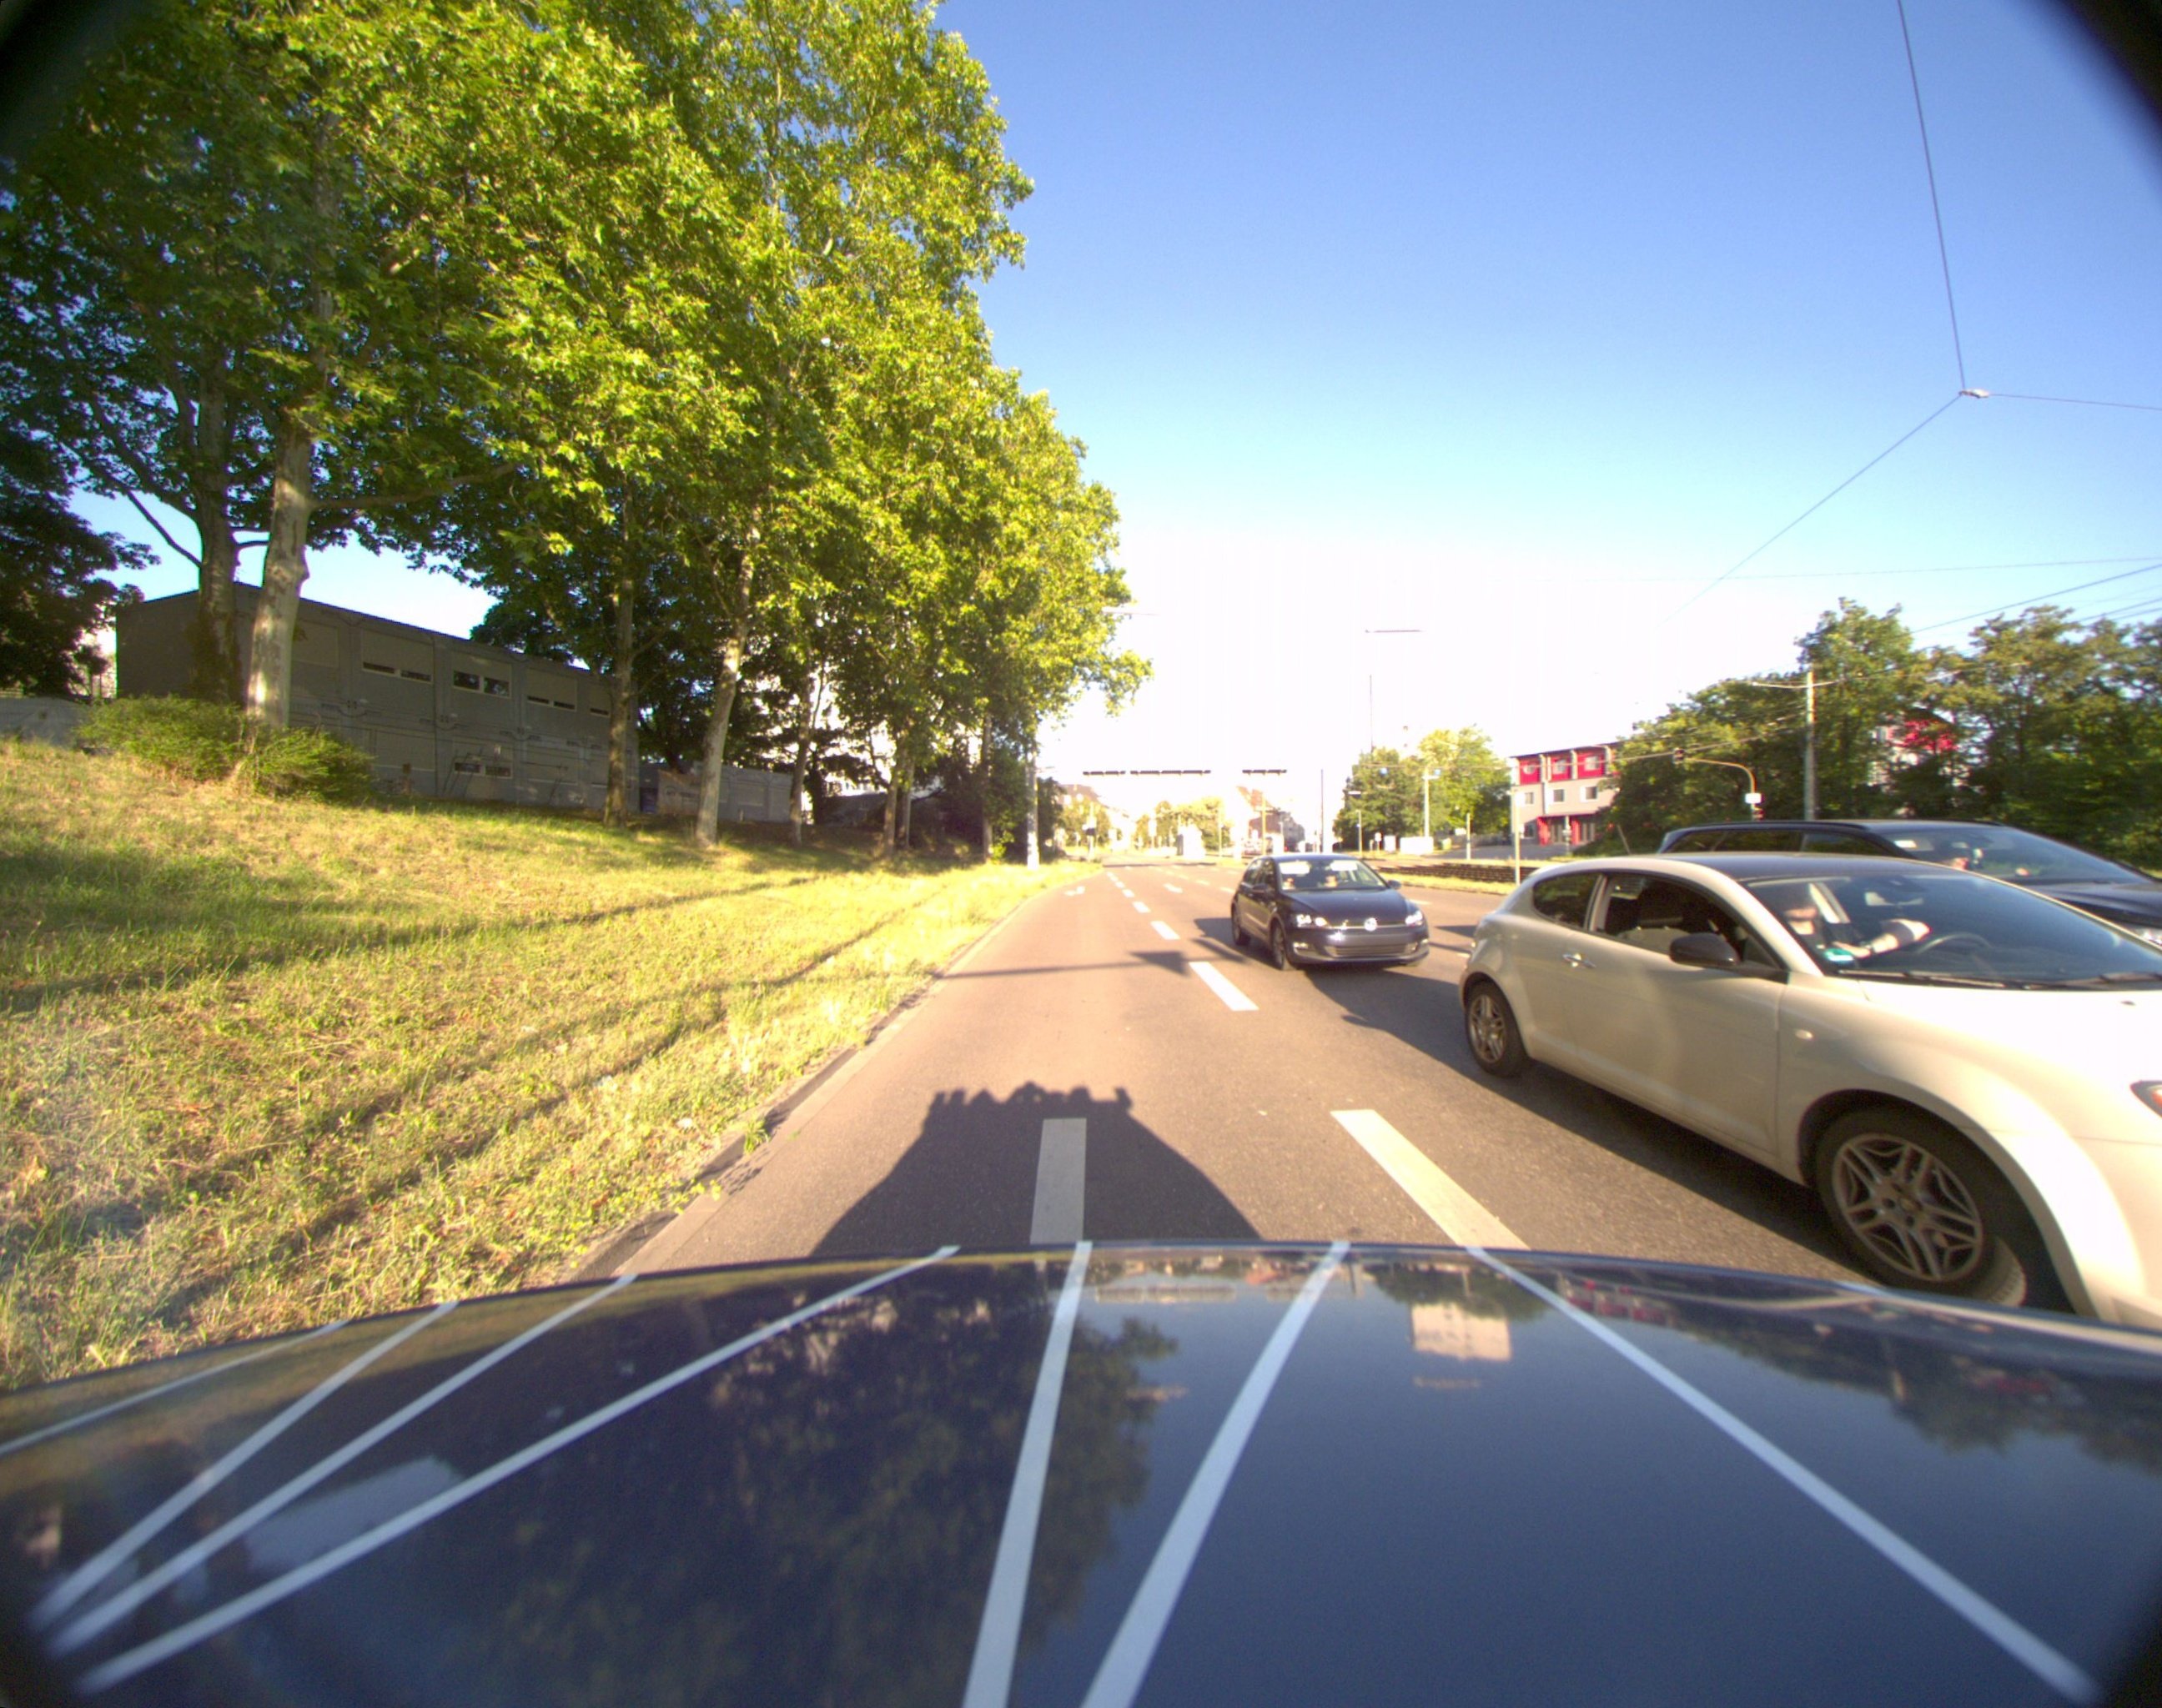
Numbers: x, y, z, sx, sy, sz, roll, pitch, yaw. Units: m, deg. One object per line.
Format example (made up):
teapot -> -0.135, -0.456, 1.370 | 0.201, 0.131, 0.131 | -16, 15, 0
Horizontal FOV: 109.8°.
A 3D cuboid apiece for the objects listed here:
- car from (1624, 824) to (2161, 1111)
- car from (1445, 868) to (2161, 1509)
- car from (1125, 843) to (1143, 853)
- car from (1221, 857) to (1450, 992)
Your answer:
car -> 7.227, 0.610, 6.563 | 1.920, 1.639, 4.602 | -1, 0, 2
car -> 3.421, 0.845, 3.396 | 1.665, 1.422, 3.923 | -1, 0, -1
car -> 10.966, -1.216, 156.692 | 1.995, 1.807, 4.007 | -2, 1, 31
car -> 3.202, 0.792, 10.441 | 1.782, 1.422, 3.923 | -1, 0, -1
